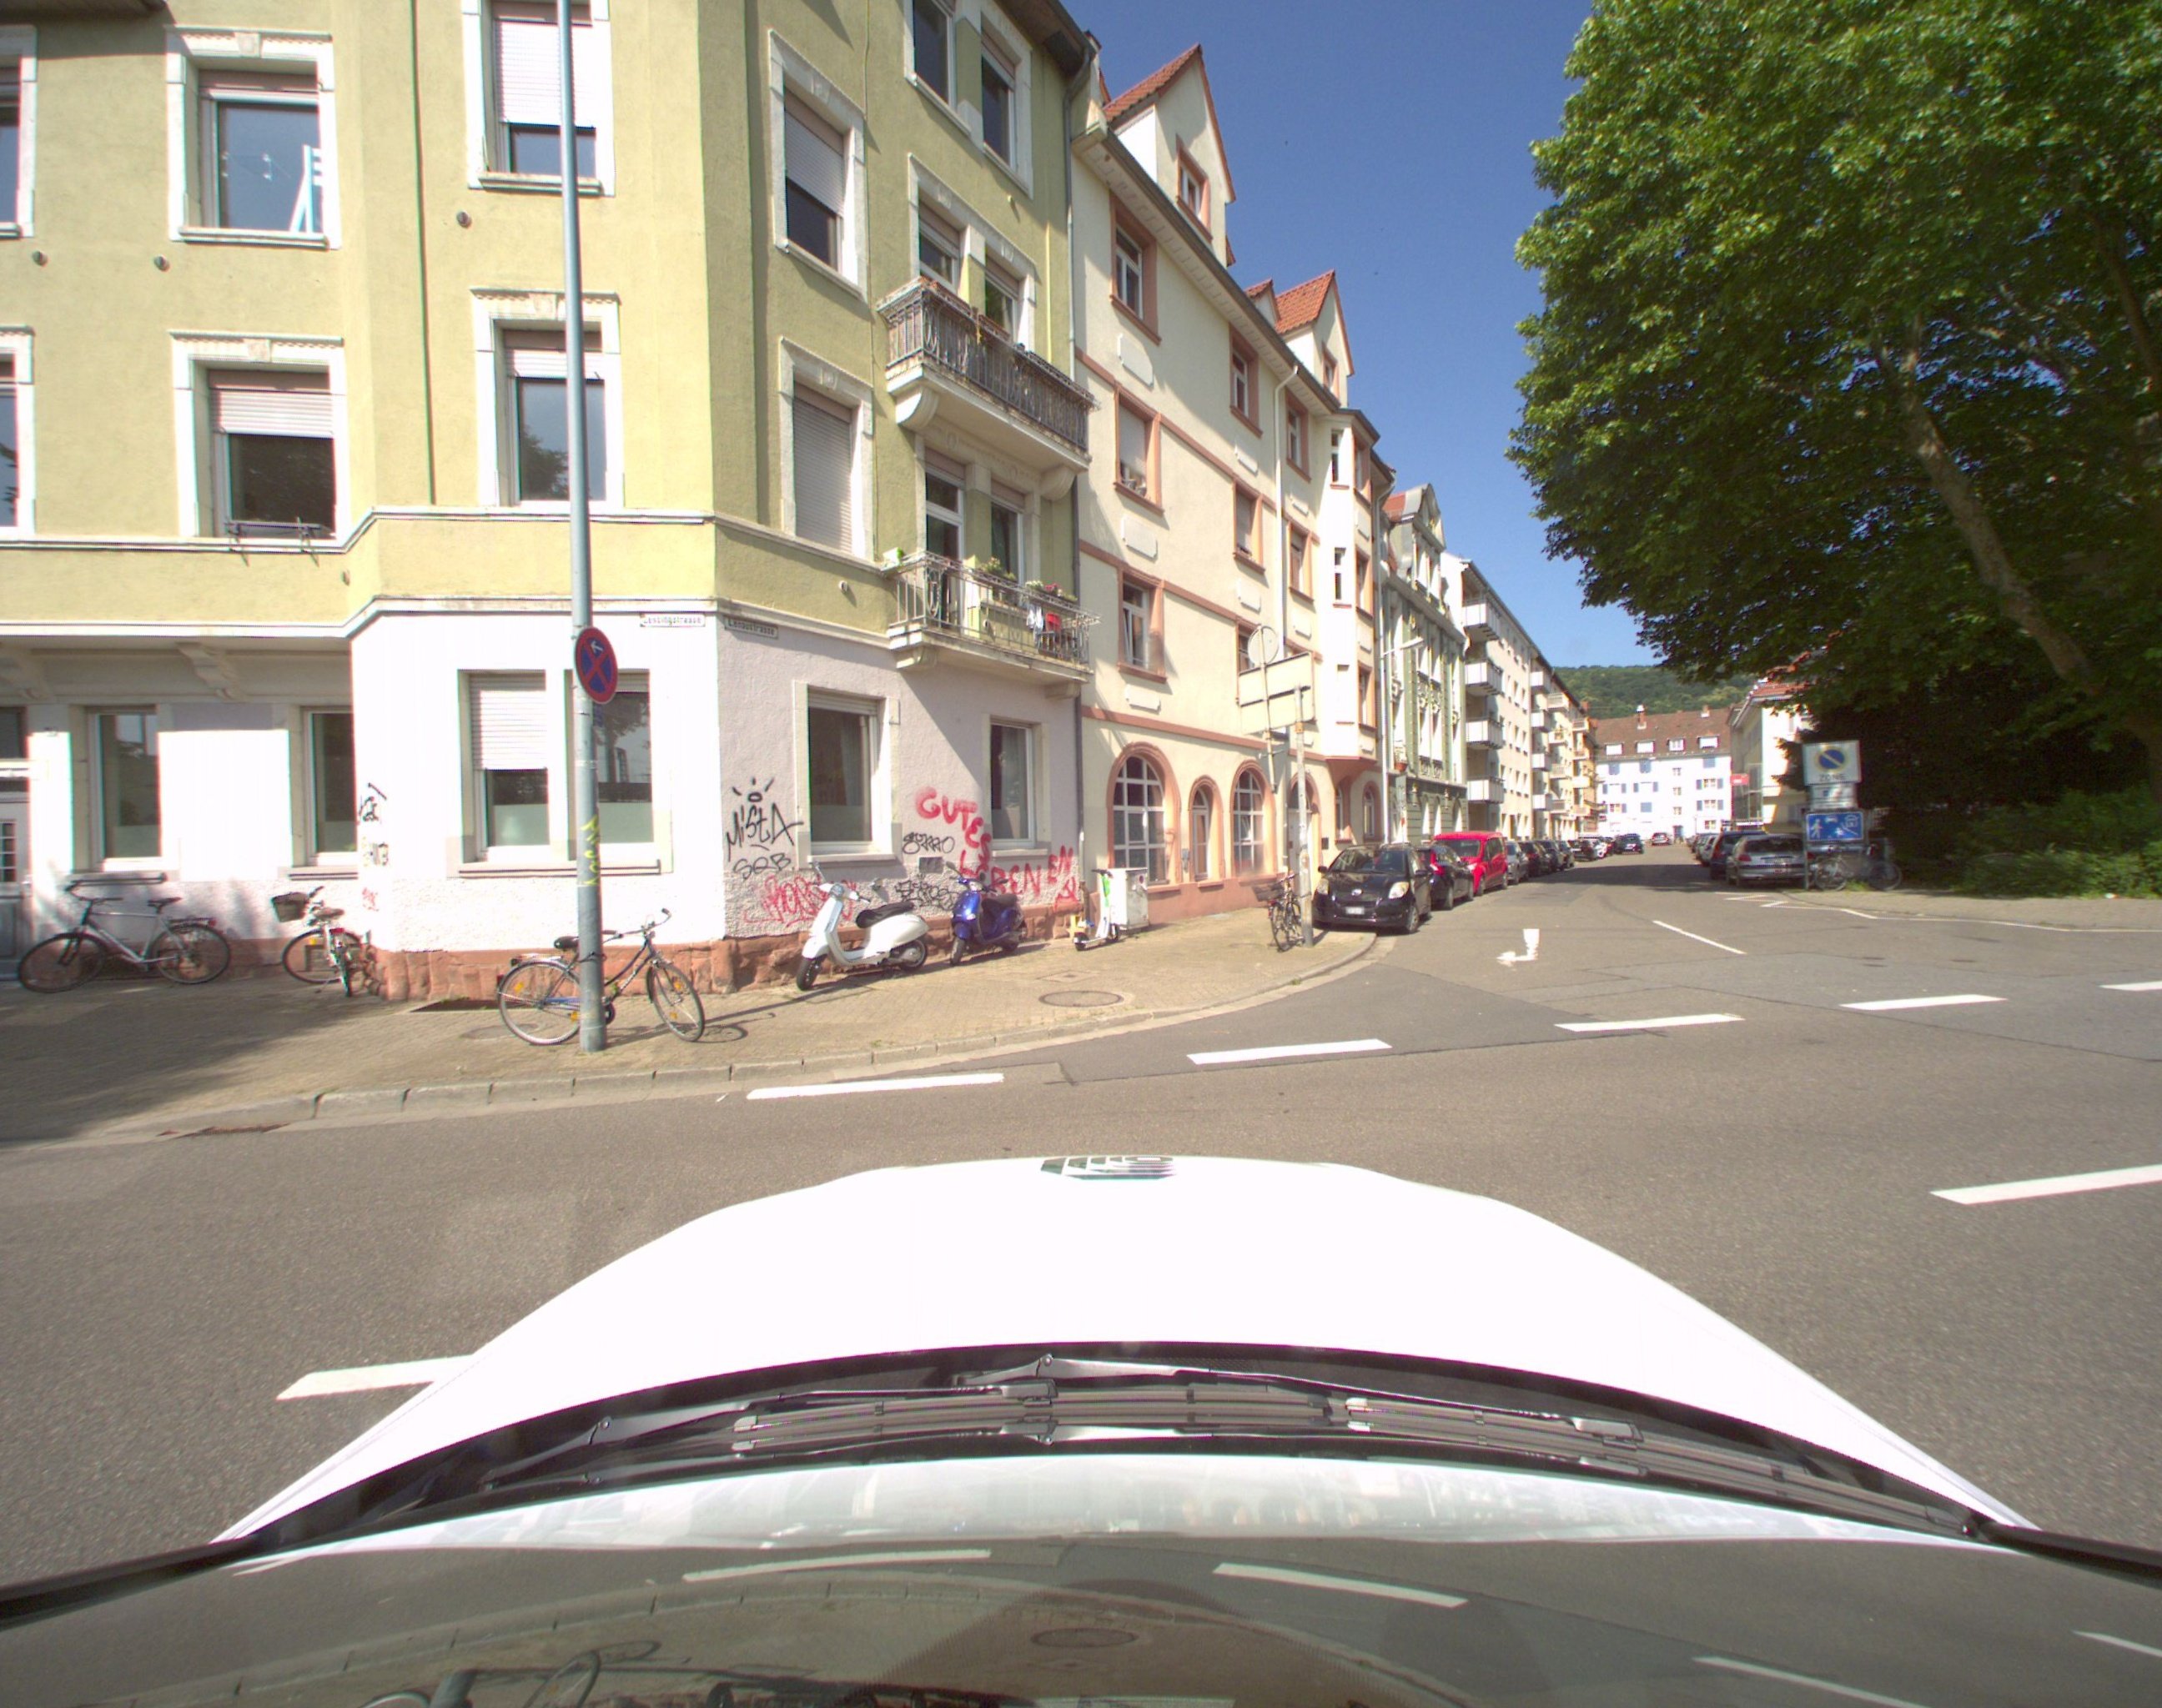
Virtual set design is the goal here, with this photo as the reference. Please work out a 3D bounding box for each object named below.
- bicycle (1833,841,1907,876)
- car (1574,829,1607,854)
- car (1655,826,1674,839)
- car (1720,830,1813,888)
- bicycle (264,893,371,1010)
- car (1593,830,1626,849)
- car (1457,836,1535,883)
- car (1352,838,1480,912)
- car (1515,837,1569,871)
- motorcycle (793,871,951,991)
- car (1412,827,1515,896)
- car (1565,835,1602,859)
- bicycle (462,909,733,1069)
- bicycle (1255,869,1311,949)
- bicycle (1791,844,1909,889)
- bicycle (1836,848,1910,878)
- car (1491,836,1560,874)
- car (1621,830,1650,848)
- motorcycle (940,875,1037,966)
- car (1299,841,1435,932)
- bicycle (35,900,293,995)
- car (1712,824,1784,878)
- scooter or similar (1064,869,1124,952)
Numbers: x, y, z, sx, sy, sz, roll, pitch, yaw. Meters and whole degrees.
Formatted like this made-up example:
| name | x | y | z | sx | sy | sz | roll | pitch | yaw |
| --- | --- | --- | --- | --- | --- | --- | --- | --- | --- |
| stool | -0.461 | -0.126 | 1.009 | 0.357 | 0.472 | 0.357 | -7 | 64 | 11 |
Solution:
| name | x | y | z | sx | sy | sz | roll | pitch | yaw |
| --- | --- | --- | --- | --- | --- | --- | --- | --- | --- |
| bicycle | 23.837 | 0.119 | 24.638 | 1.555 | 0.993 | 0.460 | 1 | 3 | 35 |
| car | 36.579 | -0.914 | 58.406 | 1.845 | 1.722 | 3.888 | -1 | 1 | 35 |
| car | 70.365 | -2.611 | 98.138 | 1.731 | 1.480 | 3.804 | -1 | 1 | 38 |
| car | 18.766 | 0.088 | 22.440 | 1.787 | 1.451 | 3.819 | -1 | 1 | 38 |
| bicycle | -8.274 | 1.000 | 8.802 | 1.804 | 1.046 | 0.542 | 1 | 2 | 38 |
| car | 43.171 | -1.178 | 66.516 | 1.974 | 1.478 | 4.026 | -1 | 1 | 37 |
| car | 14.593 | 0.154 | 28.528 | 1.845 | 1.486 | 4.026 | -1 | 1 | 35 |
| car | 8.122 | 0.430 | 19.541 | 1.962 | 1.542 | 4.090 | -2 | 0 | 35 |
| car | 21.575 | -0.034 | 38.057 | 1.845 | 1.486 | 4.026 | -1 | 1 | 35 |
| motorcycle | -2.376 | 0.837 | 9.439 | 0.468 | 1.150 | 1.775 | 1 | 3 | 43 |
| car | 11.285 | 0.151 | 23.869 | 1.848 | 1.840 | 4.253 | -1 | 1 | 37 |
| car | 32.807 | -0.488 | 53.084 | 1.845 | 1.486 | 3.888 | -1 | 1 | 35 |
| bicycle | -3.778 | 1.034 | 6.486 | 1.728 | 1.087 | 0.577 | -2 | 1 | -9 |
| bicycle | 3.070 | 0.787 | 12.290 | 0.619 | 1.034 | 1.892 | -1 | 1 | 19 |
| bicycle | 18.148 | 0.290 | 19.281 | 1.874 | 0.983 | 0.980 | -1 | 1 | 32 |
| bicycle | 23.184 | 0.245 | 23.871 | 1.487 | 0.833 | 0.386 | 1 | 3 | 35 |
| car | 18.561 | 0.012 | 33.938 | 1.845 | 1.486 | 4.026 | -1 | 1 | 38 |
| car | 46.994 | -1.266 | 68.978 | 1.731 | 1.460 | 3.804 | -1 | 1 | 38 |
| motorcycle | -1.235 | 0.863 | 11.101 | 0.423 | 1.094 | 1.459 | 1 | 2 | 37 |
| car | 5.475 | 0.509 | 15.288 | 1.804 | 1.447 | 3.792 | -1 | 1 | 28 |
| bicycle | -10.736 | 1.078 | 9.599 | 2.105 | 0.945 | 0.608 | -1 | 2 | -7 |
| car | 22.089 | -0.134 | 27.086 | 1.731 | 1.657 | 3.804 | -1 | 1 | 38 |
| scooter or similar | 0.216 | 0.814 | 12.246 | 0.271 | 1.127 | 1.457 | 0 | 1 | 27 |
